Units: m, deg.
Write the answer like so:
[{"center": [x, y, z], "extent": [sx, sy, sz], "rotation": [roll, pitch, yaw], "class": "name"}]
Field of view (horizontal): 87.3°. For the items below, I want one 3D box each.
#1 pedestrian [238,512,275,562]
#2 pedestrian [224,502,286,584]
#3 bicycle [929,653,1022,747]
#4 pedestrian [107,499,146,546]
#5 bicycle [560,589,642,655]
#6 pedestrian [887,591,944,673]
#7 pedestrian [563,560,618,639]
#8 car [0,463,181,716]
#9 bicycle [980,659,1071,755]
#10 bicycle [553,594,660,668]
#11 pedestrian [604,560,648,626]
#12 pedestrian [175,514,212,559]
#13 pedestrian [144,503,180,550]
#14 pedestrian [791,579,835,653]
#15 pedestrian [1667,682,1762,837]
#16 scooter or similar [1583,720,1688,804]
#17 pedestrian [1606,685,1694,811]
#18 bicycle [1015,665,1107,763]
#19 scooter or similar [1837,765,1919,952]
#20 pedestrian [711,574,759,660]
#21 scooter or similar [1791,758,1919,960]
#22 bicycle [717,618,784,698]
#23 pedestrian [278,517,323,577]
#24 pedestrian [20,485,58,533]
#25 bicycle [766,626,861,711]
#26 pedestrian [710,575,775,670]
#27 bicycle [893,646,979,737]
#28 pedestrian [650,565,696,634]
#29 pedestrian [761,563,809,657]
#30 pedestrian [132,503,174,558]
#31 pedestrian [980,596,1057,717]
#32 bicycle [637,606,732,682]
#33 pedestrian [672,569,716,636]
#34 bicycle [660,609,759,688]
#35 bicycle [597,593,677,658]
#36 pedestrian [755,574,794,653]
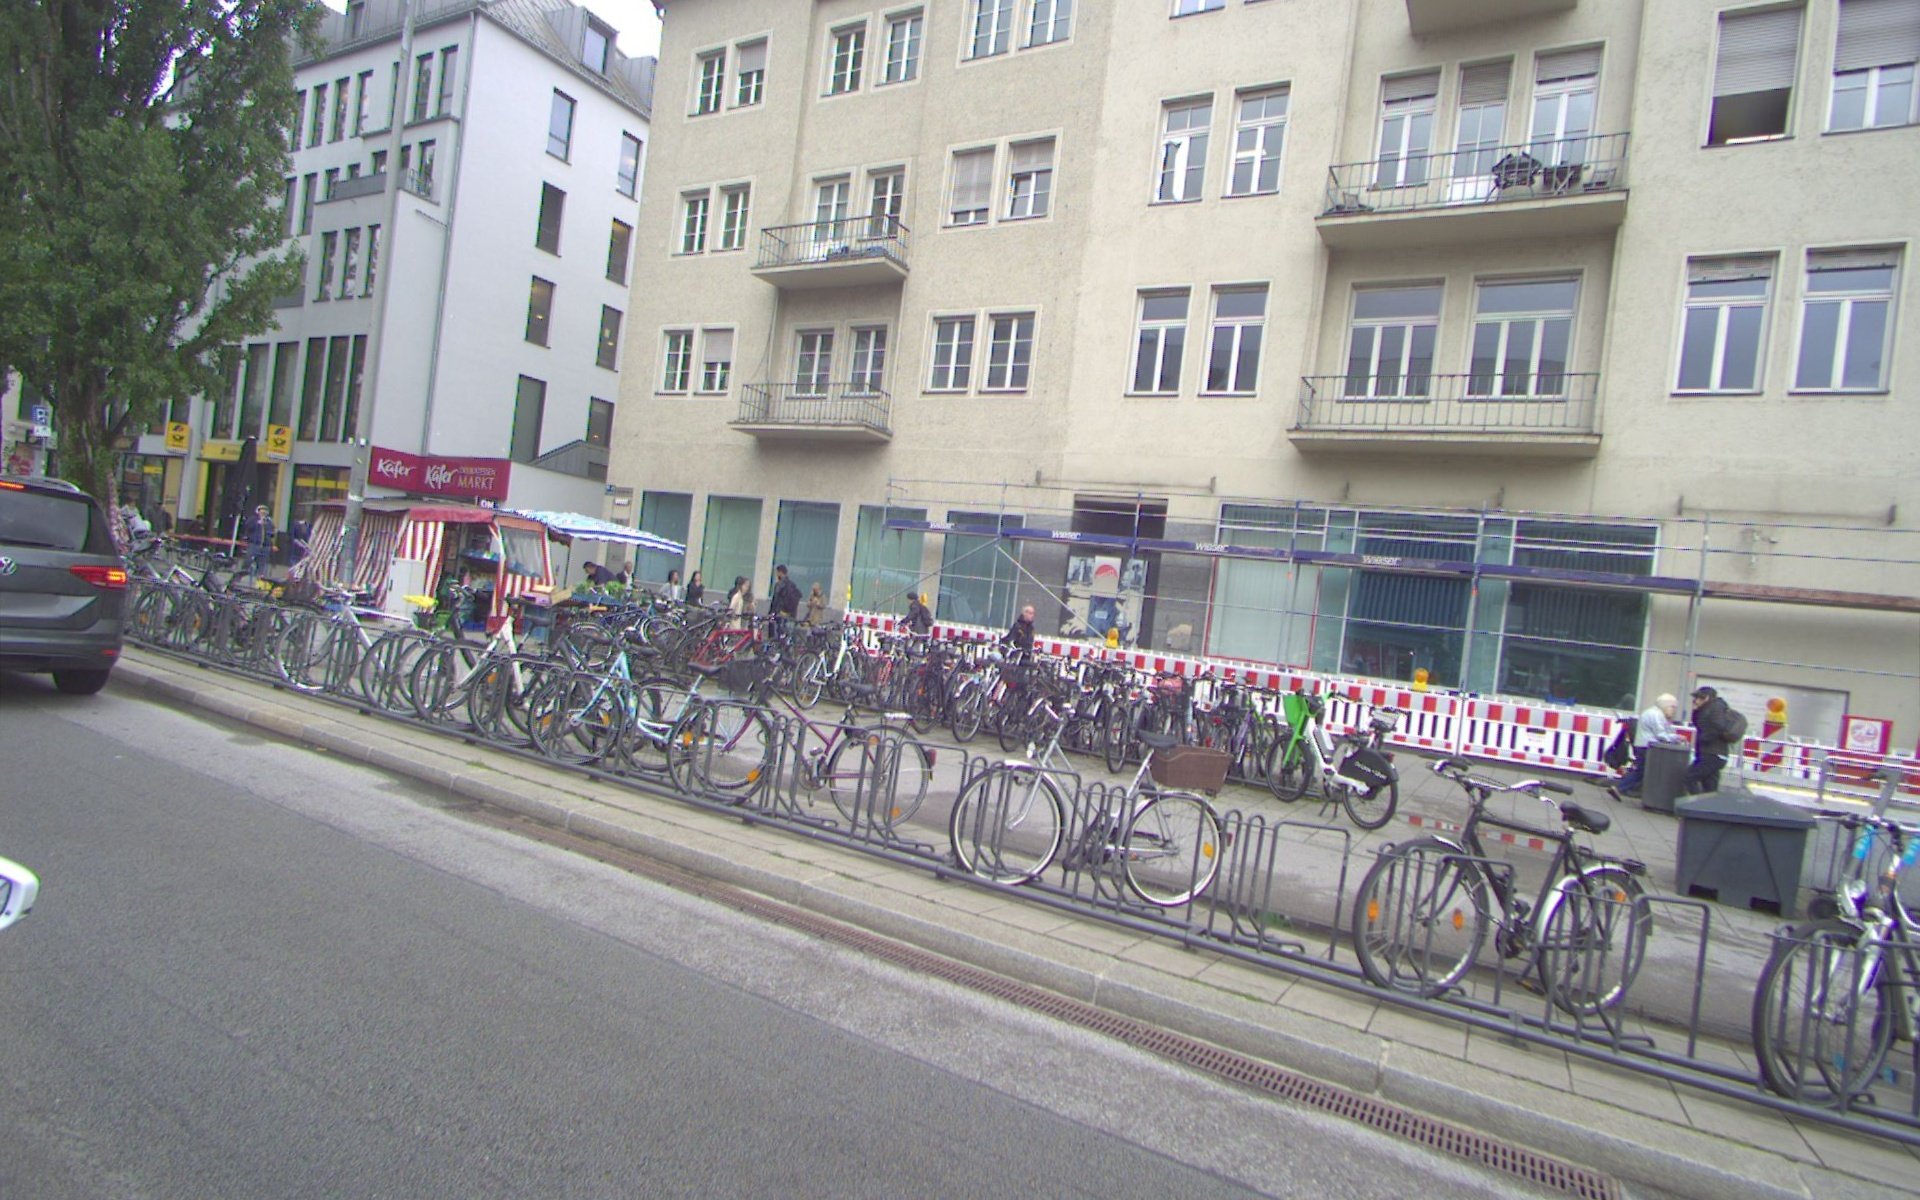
[{"center": [-24.261, -2.166, 34.709], "extent": [0.665, 1.578, 0.714], "rotation": [7, 1, 31], "class": "pedestrian"}, {"center": [-16.222, -1.307, 23.145], "extent": [0.751, 1.749, 0.791], "rotation": [7, 1, 31], "class": "pedestrian"}, {"center": [0.195, 1.140, 11.534], "extent": [0.363, 0.975, 1.181], "rotation": [7, 0, 35], "class": "bicycle"}, {"center": [-25.492, -2.371, 30.764], "extent": [0.665, 1.322, 0.639], "rotation": [7, 1, 31], "class": "pedestrian"}, {"center": [-5.865, 0.378, 16.501], "extent": [0.363, 0.975, 1.246], "rotation": [7, 0, 29], "class": "bicycle"}, {"center": [-0.911, 0.666, 20.739], "extent": [0.774, 1.588, 0.649], "rotation": [7, 1, 32], "class": "pedestrian"}, {"center": [-7.271, -0.010, 19.793], "extent": [0.648, 1.443, 0.616], "rotation": [7, 1, 36], "class": "pedestrian"}, {"center": [-8.265, -0.296, 7.868], "extent": [4.629, 1.666, 1.774], "rotation": [7, -1, 31], "class": "car"}, {"center": [0.745, 1.186, 11.212], "extent": [0.363, 0.975, 1.133], "rotation": [7, 0, 36], "class": "bicycle"}, {"center": [-5.138, 0.469, 14.692], "extent": [0.363, 0.975, 1.431], "rotation": [7, 0, 36], "class": "bicycle"}, {"center": [-7.688, -0.158, 23.155], "extent": [0.570, 1.420, 0.599], "rotation": [7, 1, 31], "class": "pedestrian"}, {"center": [-24.538, -2.031, 32.216], "extent": [0.665, 1.322, 0.639], "rotation": [7, 1, 31], "class": "pedestrian"}, {"center": [-28.935, -2.667, 36.500], "extent": [0.665, 1.578, 0.714], "rotation": [7, 1, 31], "class": "pedestrian"}, {"center": [-3.448, 0.383, 23.636], "extent": [0.553, 1.665, 0.642], "rotation": [7, 1, 31], "class": "pedestrian"}, {"center": [9.030, 1.877, 12.051], "extent": [0.710, 1.692, 0.657], "rotation": [8, 2, 38], "class": "pedestrian"}, {"center": [9.650, 2.295, 14.408], "extent": [1.106, 0.956, 0.535], "rotation": [7, 2, 29], "class": "scooter or similar"}, {"center": [9.320, 1.975, 13.631], "extent": [0.745, 1.537, 0.778], "rotation": [7, 2, 29], "class": "pedestrian"}, {"center": [1.122, 1.232, 11.004], "extent": [0.363, 0.975, 1.133], "rotation": [7, 0, 36], "class": "bicycle"}, {"center": [6.777, 1.816, 6.707], "extent": [0.298, 1.190, 1.268], "rotation": [6, 1, -28], "class": "scooter or similar"}, {"center": [-4.225, 0.309, 18.888], "extent": [0.574, 1.524, 0.612], "rotation": [6, 1, -28], "class": "pedestrian"}, {"center": [6.439, 1.767, 6.632], "extent": [0.361, 1.190, 1.337], "rotation": [6, 1, -28], "class": "scooter or similar"}, {"center": [-2.764, 0.747, 13.368], "extent": [0.362, 0.975, 1.229], "rotation": [7, 0, 9], "class": "bicycle"}, {"center": [-19.423, -1.563, 29.647], "extent": [0.729, 1.622, 0.733], "rotation": [7, 1, 31], "class": "pedestrian"}, {"center": [-33.652, -3.309, 36.751], "extent": [0.665, 1.614, 0.765], "rotation": [7, 1, 31], "class": "pedestrian"}, {"center": [-1.812, 0.859, 12.634], "extent": [0.363, 0.975, 1.405], "rotation": [7, 0, 26], "class": "bicycle"}, {"center": [-3.845, 0.390, 17.745], "extent": [0.801, 1.541, 0.795], "rotation": [7, 1, -26], "class": "pedestrian"}, {"center": [-0.260, 1.066, 11.805], "extent": [0.363, 0.975, 1.183], "rotation": [7, 0, 29], "class": "bicycle"}, {"center": [-6.300, -0.007, 22.054], "extent": [0.570, 1.420, 0.599], "rotation": [7, 1, 31], "class": "pedestrian"}, {"center": [-3.345, 0.184, 19.200], "extent": [0.594, 1.690, 0.682], "rotation": [6, 1, -24], "class": "pedestrian"}, {"center": [-25.320, -2.177, 31.560], "extent": [0.665, 1.578, 0.714], "rotation": [7, 1, 31], "class": "pedestrian"}, {"center": [0.914, 0.861, 15.539], "extent": [0.745, 1.750, 0.743], "rotation": [7, 2, 31], "class": "pedestrian"}, {"center": [-3.829, 0.625, 14.043], "extent": [0.363, 0.975, 1.262], "rotation": [7, 0, 33], "class": "bicycle"}, {"center": [-5.962, 0.066, 22.585], "extent": [0.570, 1.420, 0.575], "rotation": [7, 1, 31], "class": "pedestrian"}, {"center": [-3.423, 0.679, 13.804], "extent": [0.364, 0.975, 1.259], "rotation": [7, 0, 40], "class": "bicycle"}, {"center": [-5.280, 0.440, 16.506], "extent": [0.363, 0.975, 1.246], "rotation": [7, 0, 29], "class": "bicycle"}, {"center": [-3.681, 0.263, 19.947], "extent": [0.501, 1.502, 0.462], "rotation": [6, 1, -24], "class": "pedestrian"}]
